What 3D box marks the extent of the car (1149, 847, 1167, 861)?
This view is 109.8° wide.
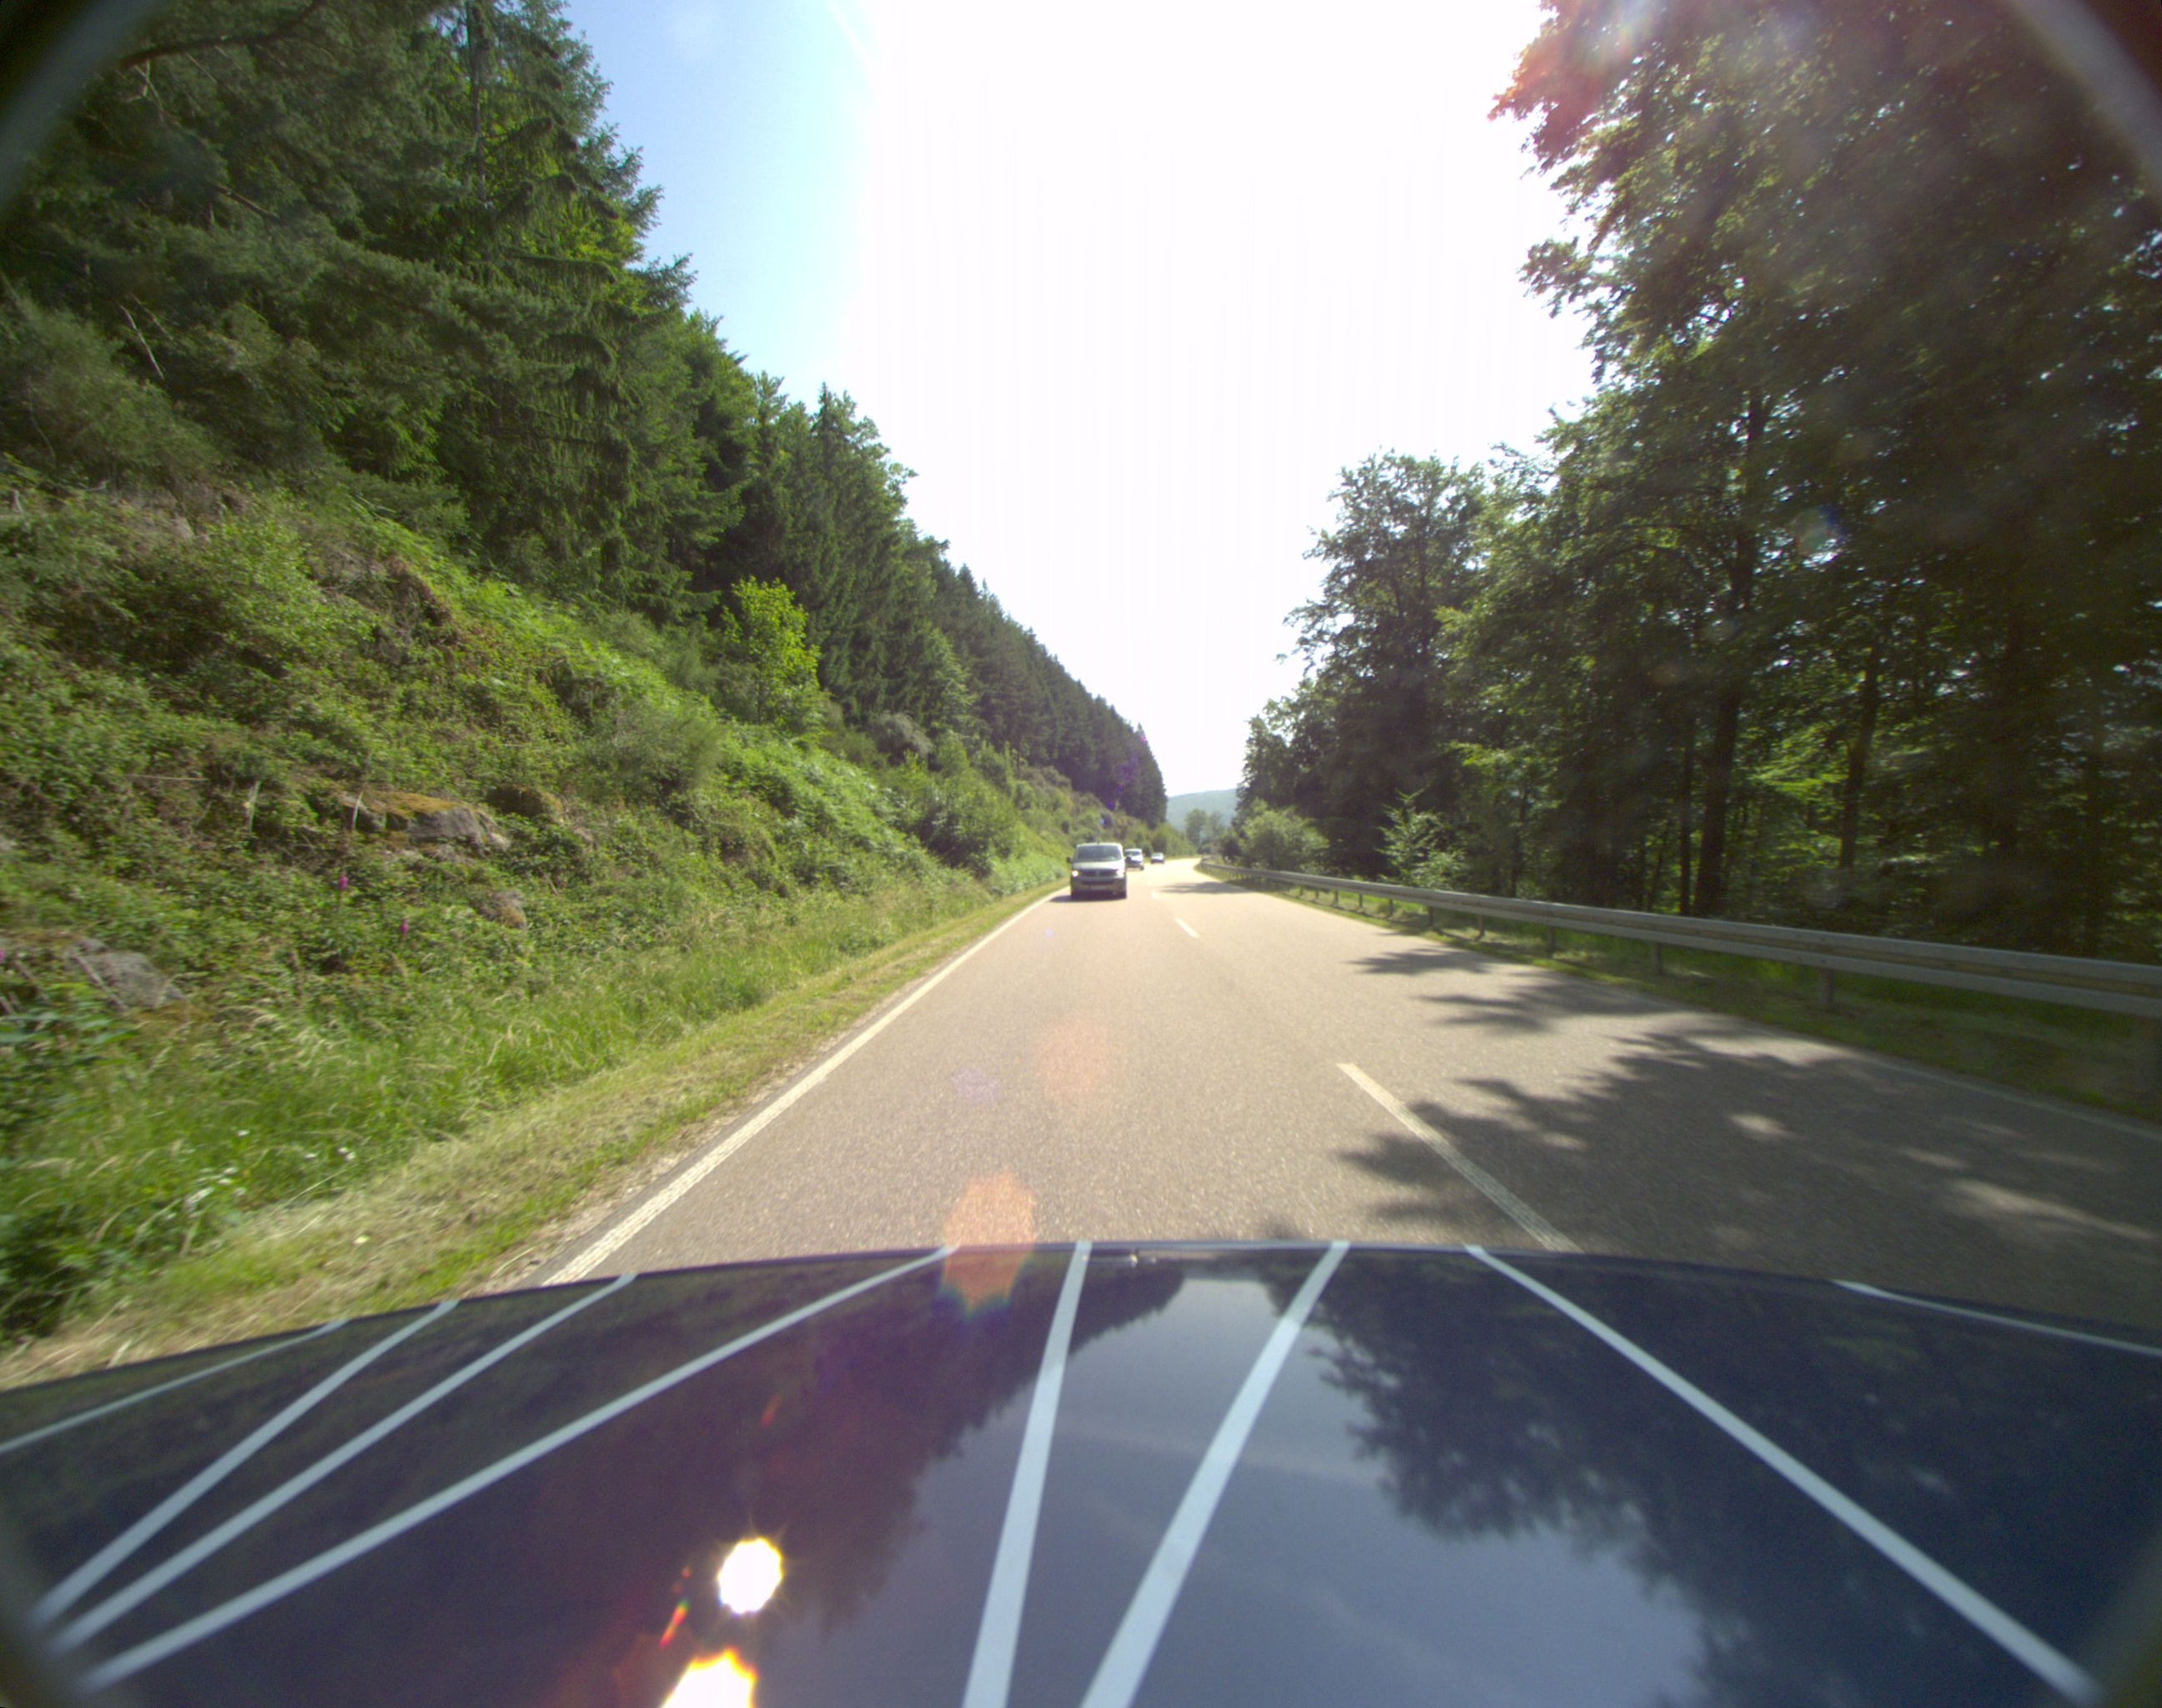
[{"bbox_3d":[10.503,-0.017,103.435,1.997,1.718,4.003,-1,0,10],"label":"car"}]

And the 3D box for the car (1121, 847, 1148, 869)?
[{"bbox_3d":[4.870,0.318,68.531,2.136,1.825,4.725,-1,0,7],"label":"car"}]

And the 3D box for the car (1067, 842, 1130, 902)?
[{"bbox_3d":[0.723,0.577,26.904,1.990,1.899,4.761,-1,0,4],"label":"car"}]
